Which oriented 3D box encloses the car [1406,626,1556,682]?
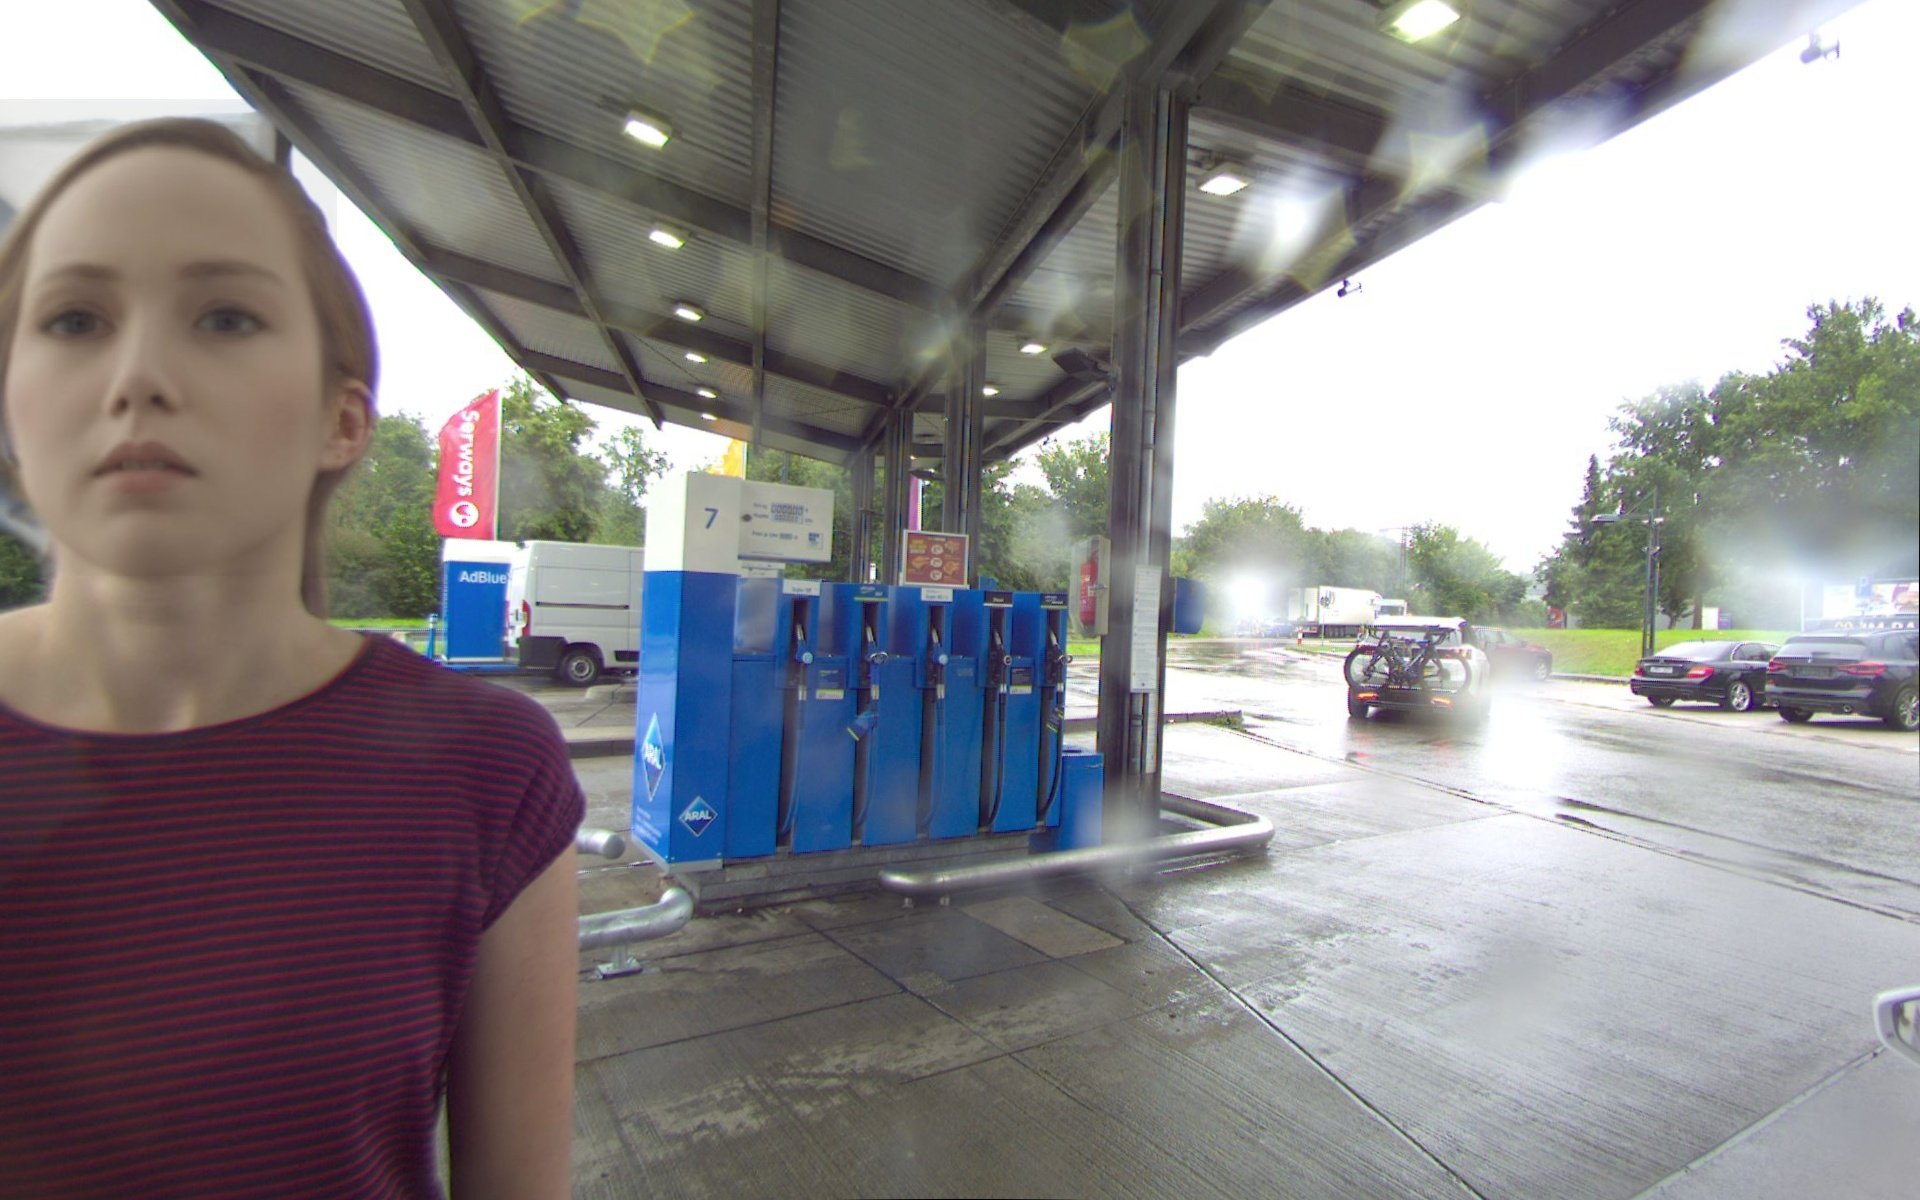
[{"bbox_3d":[16.081,1.644,31.012,4.294,1.617,1.879,1,-1,-24],"label":"car"}]

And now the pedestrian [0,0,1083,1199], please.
[{"bbox_3d":[-0.507,0.344,0.584,0.830,1.757,0.790,2,-1,-31],"label":"pedestrian"}]

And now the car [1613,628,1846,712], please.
[{"bbox_3d":[15.934,1.414,20.828,4.119,1.585,1.883,1,-1,-19],"label":"car"}]

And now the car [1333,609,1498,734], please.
[{"bbox_3d":[7.252,0.975,15.687,1.788,1.586,4.994,1,0,31],"label":"car"}]

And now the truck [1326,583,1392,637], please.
[{"bbox_3d":[35.579,0.918,89.464,3.416,4.618,6.704,2,0,40],"label":"truck"}]

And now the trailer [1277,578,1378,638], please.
[{"bbox_3d":[30.907,0.748,83.860,3.416,4.618,13.847,2,0,40],"label":"trailer"}]

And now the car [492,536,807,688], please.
[{"bbox_3d":[-5.778,0.262,18.961,5.227,2.496,2.306,1,-1,-34],"label":"car"}]

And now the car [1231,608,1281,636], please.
[{"bbox_3d":[20.870,1.524,70.792,1.903,1.862,4.373,1,0,38],"label":"car"}]

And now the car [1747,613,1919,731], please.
[{"bbox_3d":[16.147,1.186,17.408,4.344,1.852,1.883,1,-1,-19],"label":"car"}]
